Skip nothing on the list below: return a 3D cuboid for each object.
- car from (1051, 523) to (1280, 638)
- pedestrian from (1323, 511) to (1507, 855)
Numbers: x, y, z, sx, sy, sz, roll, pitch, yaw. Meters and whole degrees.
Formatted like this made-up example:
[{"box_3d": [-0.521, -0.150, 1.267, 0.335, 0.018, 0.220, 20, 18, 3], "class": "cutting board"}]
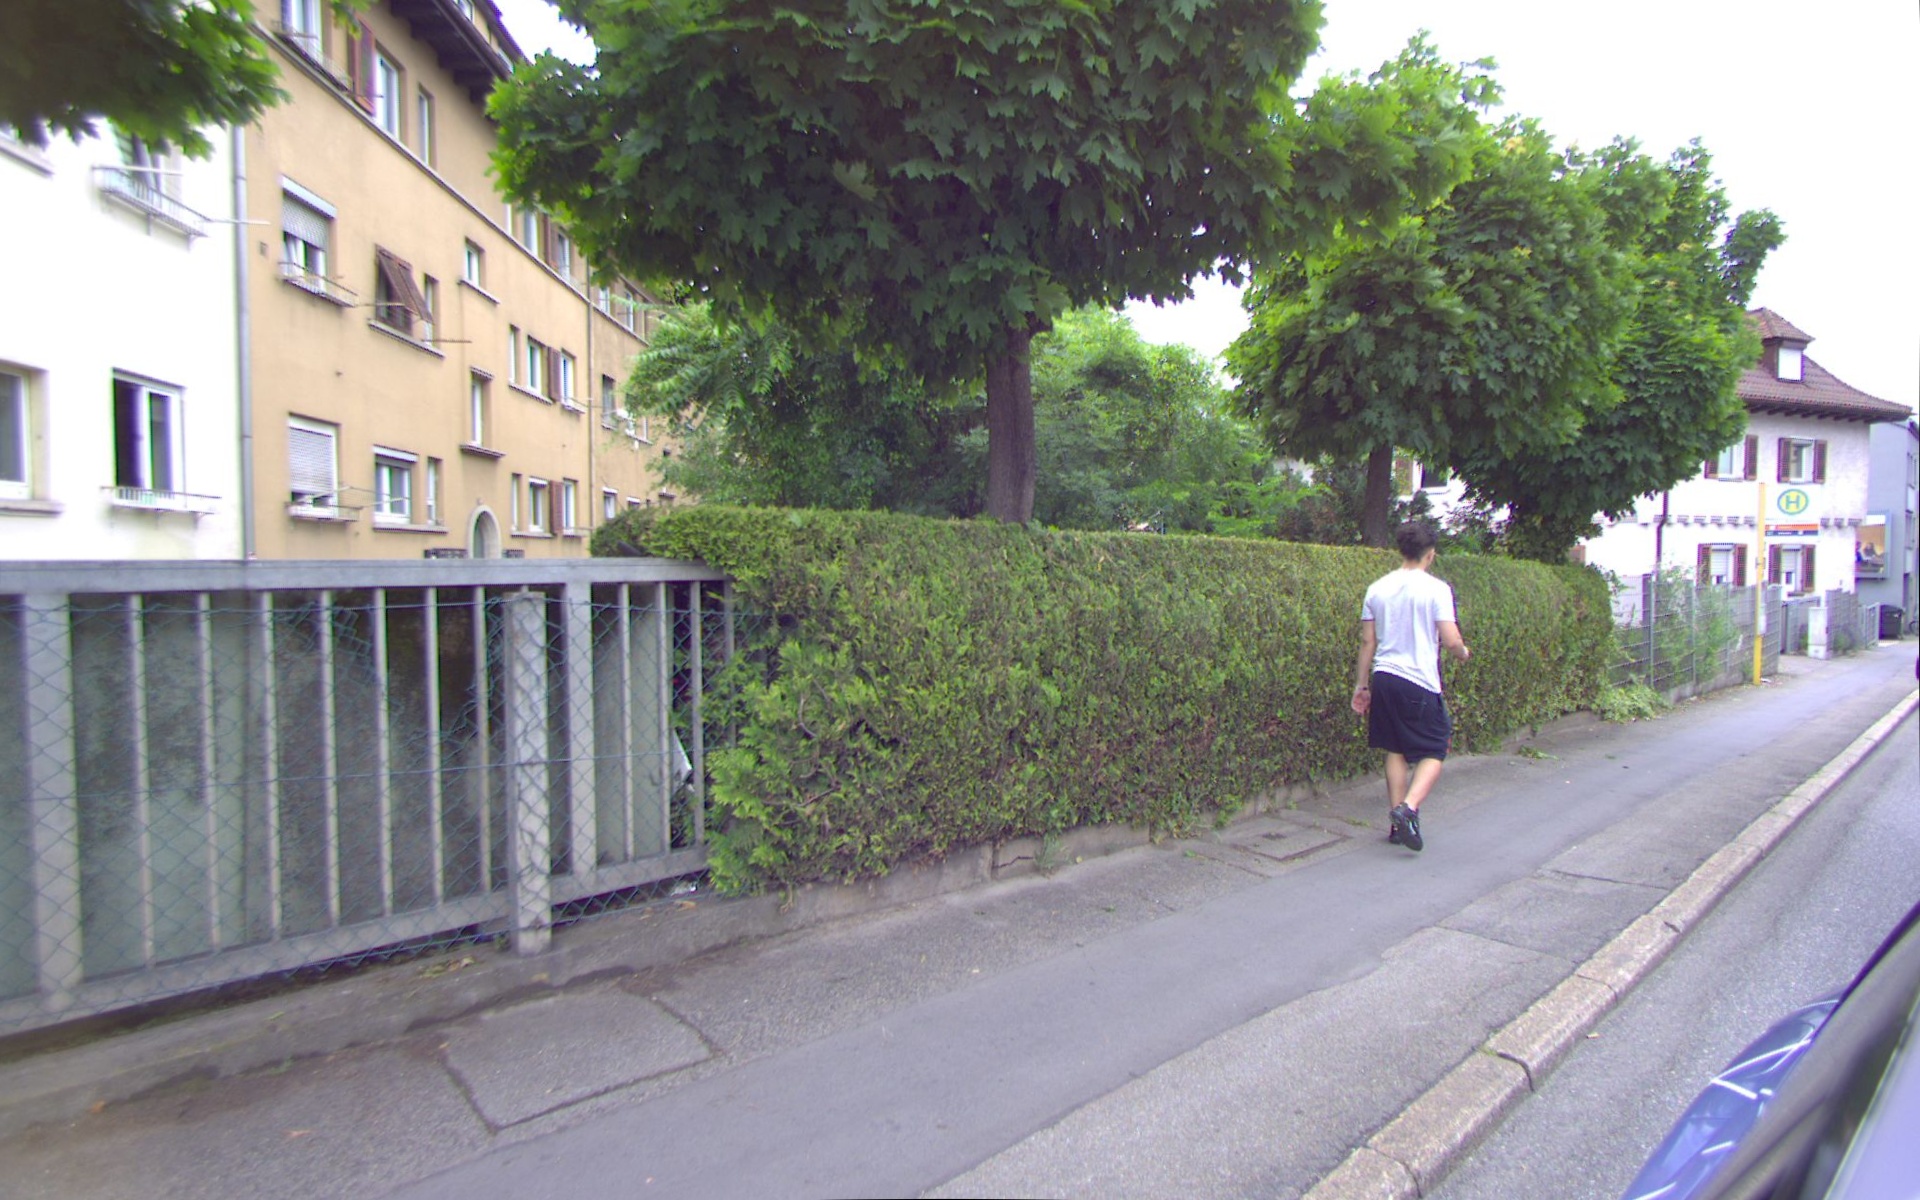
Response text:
[{"box_3d": [3.853, -0.373, 19.515, 3.923, 2.039, 2.001, 1, 1, -1], "class": "car"}, {"box_3d": [2.499, 0.407, 5.592, 0.459, 1.758, 0.695, 0, 4, -42], "class": "pedestrian"}]
